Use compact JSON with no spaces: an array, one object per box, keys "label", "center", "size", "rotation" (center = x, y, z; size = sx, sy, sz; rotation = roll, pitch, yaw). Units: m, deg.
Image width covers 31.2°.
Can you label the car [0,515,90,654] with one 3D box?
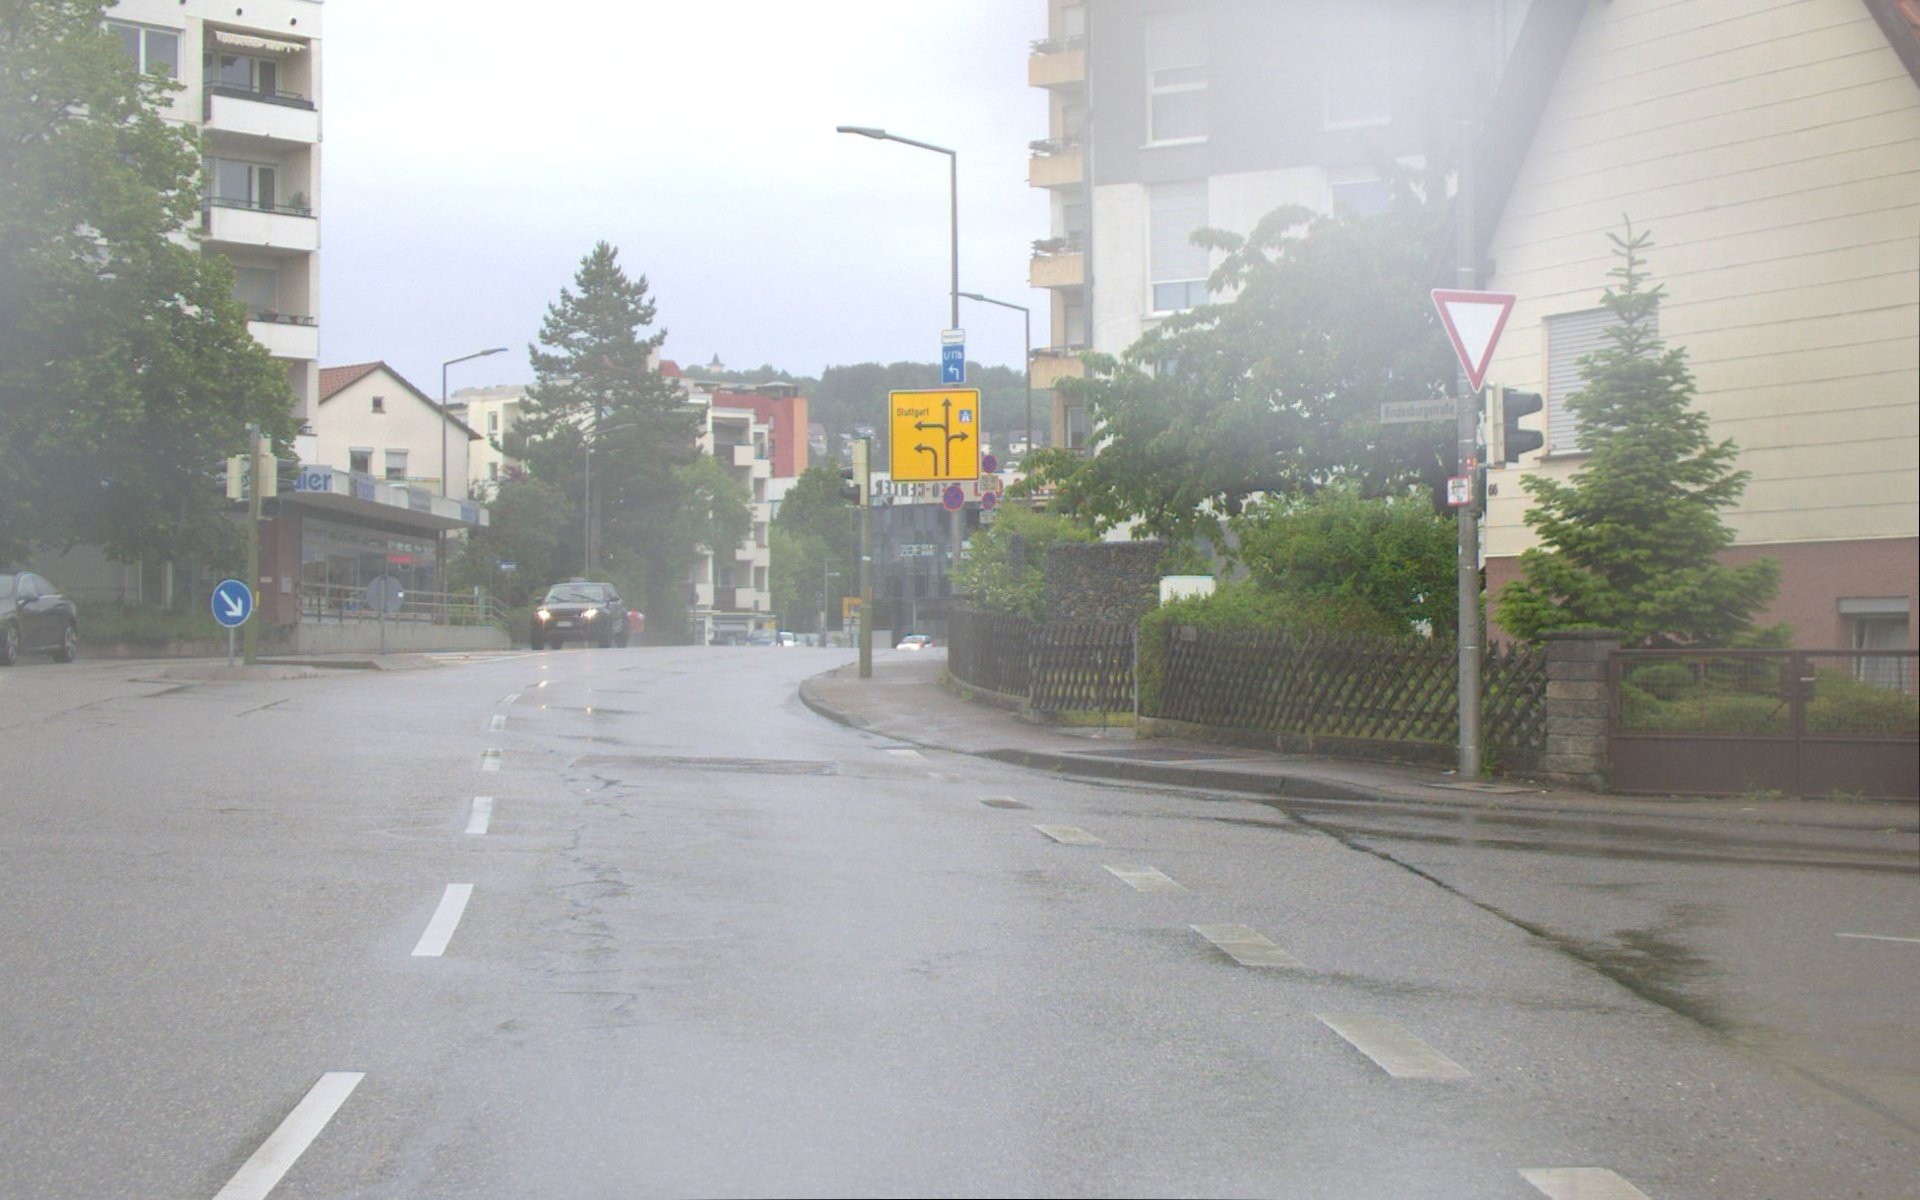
[{"label":"car","center":[-14.771,-0.252,52.111],"size":[1.993,2.007,4.652],"rotation":[0,1,0]}]

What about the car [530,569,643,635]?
[{"label":"car","center":[-9.024,0.029,83.360],"size":[1.803,1.551,4.317],"rotation":[1,0,6]}]
